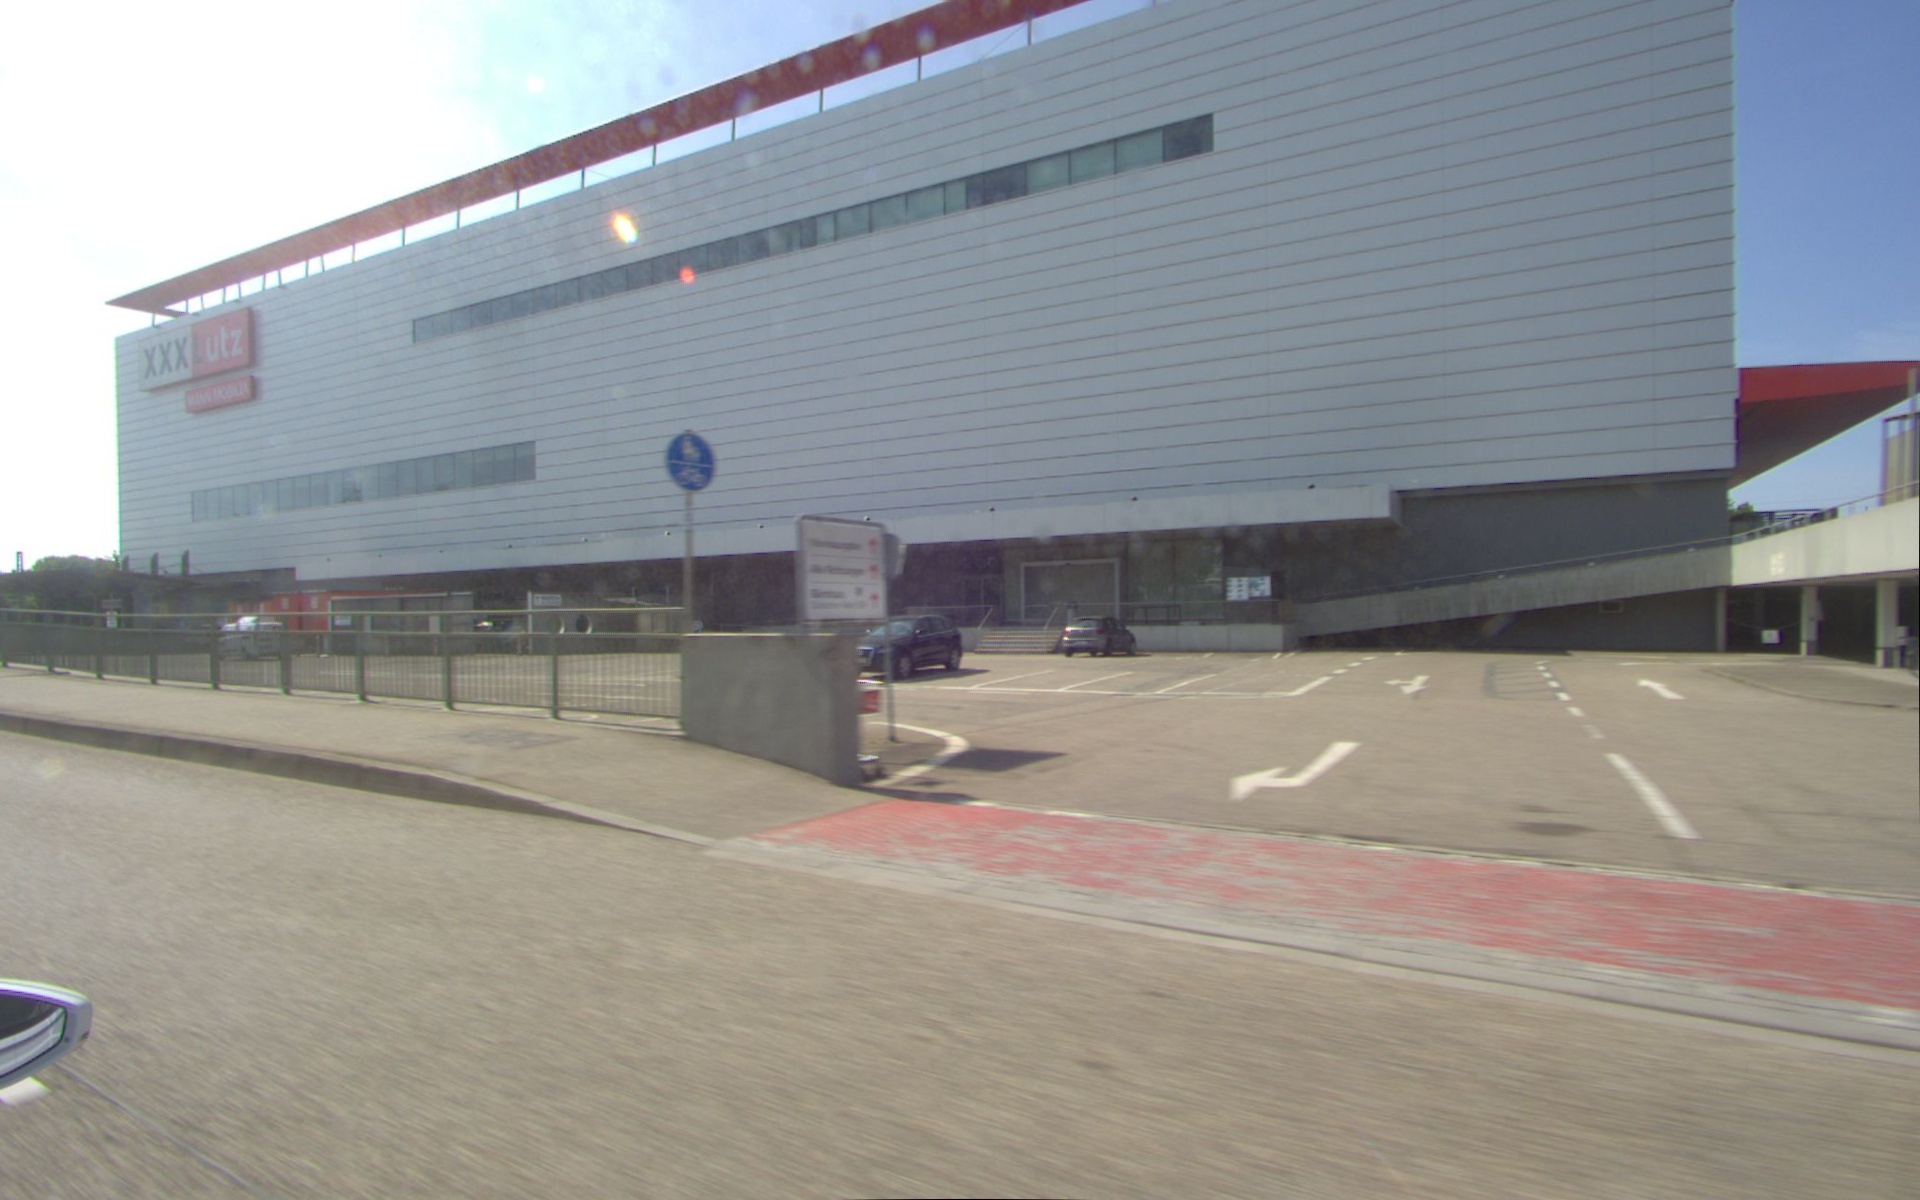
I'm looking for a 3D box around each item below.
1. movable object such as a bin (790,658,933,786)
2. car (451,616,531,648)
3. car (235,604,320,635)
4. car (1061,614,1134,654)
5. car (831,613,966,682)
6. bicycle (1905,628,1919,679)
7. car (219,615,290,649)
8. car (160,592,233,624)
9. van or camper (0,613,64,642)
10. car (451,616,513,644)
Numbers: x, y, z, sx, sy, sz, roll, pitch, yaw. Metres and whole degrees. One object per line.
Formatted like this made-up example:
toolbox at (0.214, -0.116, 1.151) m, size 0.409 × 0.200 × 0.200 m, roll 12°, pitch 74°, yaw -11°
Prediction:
movable object such as a bin at (-0.971, 1.165, 9.895) m, size 1.165 × 1.128 × 0.808 m, roll -1°, pitch -1°, yaw 32°
car at (-23.467, 1.559, 50.087) m, size 4.034 × 1.529 × 1.670 m, roll 0°, pitch -1°, yaw 31°
car at (-43.832, 1.251, 64.428) m, size 1.750 × 1.954 × 4.183 m, roll 0°, pitch -1°, yaw 30°
car at (5.060, 1.247, 36.598) m, size 1.578 × 1.394 × 3.516 m, roll 0°, pitch -2°, yaw 27°
car at (-1.633, 1.255, 28.292) m, size 1.809 × 1.636 × 4.419 m, roll 0°, pitch 1°, yaw 27°
bicycle at (20.885, 1.125, 20.845) m, size 1.683 × 1.074 × 0.510 m, roll 0°, pitch 0°, yaw 31°
car at (-38.119, 1.706, 54.101) m, size 4.034 × 1.774 × 1.670 m, roll 0°, pitch -1°, yaw 31°
car at (-57.393, 0.634, 75.309) m, size 1.653 × 2.303 × 4.075 m, roll 0°, pitch -1°, yaw 30°
van or camper at (-78.550, 2.320, 83.521) m, size 2.067 × 2.205 × 5.436 m, roll -1°, pitch -3°, yaw 15°
car at (-25.786, 1.595, 54.002) m, size 3.206 × 1.487 × 1.508 m, roll 0°, pitch -1°, yaw 31°
